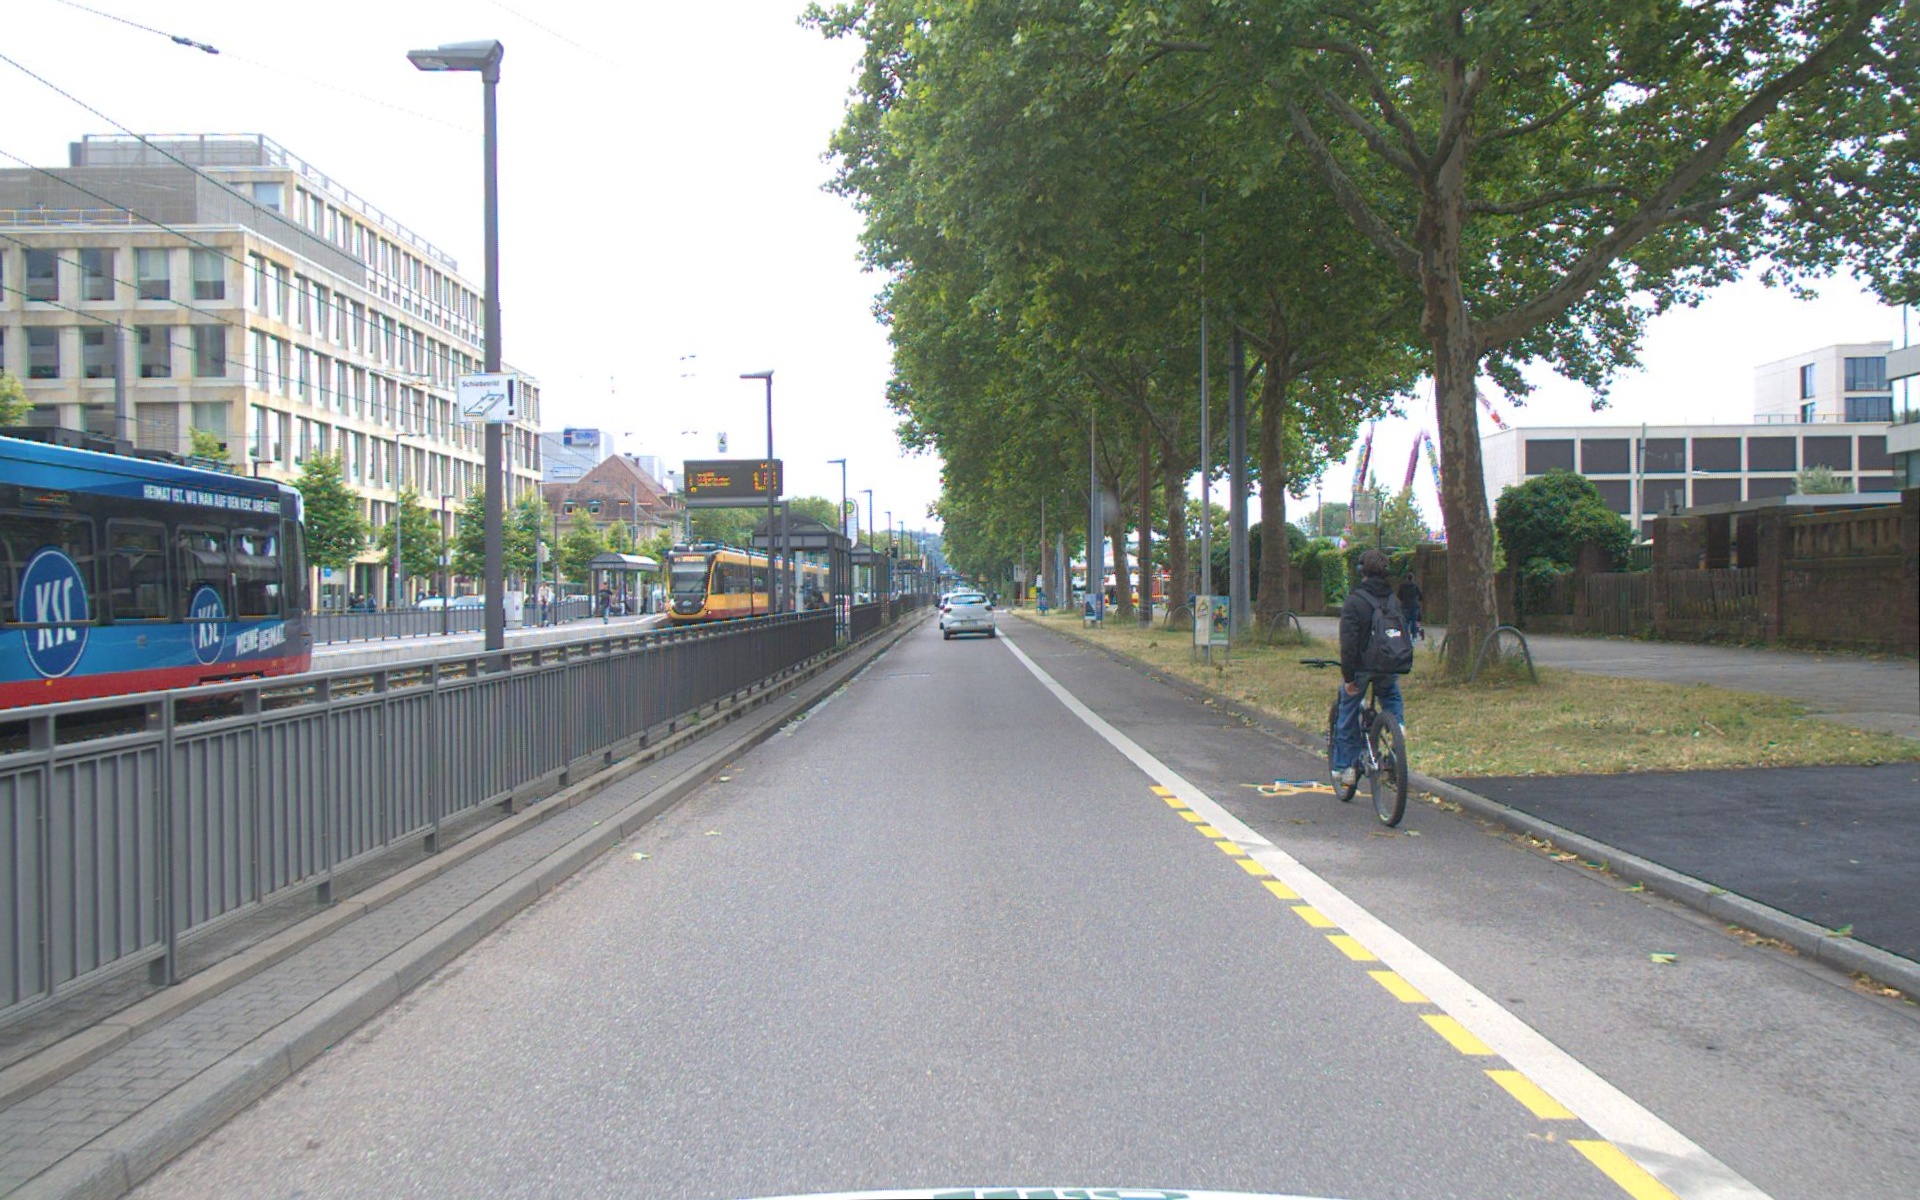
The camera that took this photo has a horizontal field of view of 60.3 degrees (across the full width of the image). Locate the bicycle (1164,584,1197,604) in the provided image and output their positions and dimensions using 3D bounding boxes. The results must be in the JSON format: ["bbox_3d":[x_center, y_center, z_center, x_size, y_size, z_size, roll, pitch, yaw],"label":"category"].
[{"bbox_3d":[13.153,-0.360,98.783,1.852,1.124,0.549,-3,0,-2],"label":"bicycle"}]

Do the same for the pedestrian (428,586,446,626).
[{"bbox_3d":[-26.875,0.294,84.998,0.698,2.049,0.725,-1,-1,-1],"label":"pedestrian"}]

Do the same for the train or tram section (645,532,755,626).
[{"bbox_3d":[-11.776,-0.857,76.110,3.171,3.929,11.311,-1,0,0],"label":"train or tram section"}]

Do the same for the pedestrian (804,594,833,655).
[{"bbox_3d":[-3.250,0.559,38.077,0.598,1.396,0.600,-1,-1,0],"label":"pedestrian"}]

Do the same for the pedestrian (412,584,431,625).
[{"bbox_3d":[-27.323,0.249,83.950,0.698,2.049,0.725,-1,-1,0],"label":"pedestrian"}]

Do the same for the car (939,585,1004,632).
[{"bbox_3d":[0.415,0.293,55.525,1.845,1.478,4.002,-1,0,5],"label":"car"}]

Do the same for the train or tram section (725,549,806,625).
[{"bbox_3d":[-11.622,-0.712,100.027,3.115,4.252,13.620,-1,0,0],"label":"train or tram section"}]

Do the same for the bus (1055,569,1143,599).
[{"bbox_3d":[14.801,-1.673,176.526,9.091,3.011,1.999,-1,0,-3],"label":"bus"}]

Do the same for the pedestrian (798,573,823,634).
[{"bbox_3d":[-4.559,0.116,50.355,0.657,1.825,1.111,-1,-1,-9],"label":"pedestrian"}]

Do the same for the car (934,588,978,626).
[{"bbox_3d":[-0.147,0.295,73.087,1.803,1.579,4.001,-2,0,1],"label":"car"}]

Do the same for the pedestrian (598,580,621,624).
[{"bbox_3d":[-14.820,0.091,69.964,0.697,1.827,1.160,-1,-1,-1],"label":"pedestrian"}]

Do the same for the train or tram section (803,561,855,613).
[{"bbox_3d":[-11.257,-1.061,143.656,3.115,4.252,14.734,-1,0,0],"label":"train or tram section"}]

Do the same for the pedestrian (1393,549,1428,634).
[{"bbox_3d":[11.028,-0.199,40.500,0.571,2.049,0.924,-1,-1,-1],"label":"pedestrian"}]

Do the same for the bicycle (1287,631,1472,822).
[{"bbox_3d":[2.901,0.829,11.678,0.639,1.170,2.282,-1,0,-2],"label":"bicycle"}]

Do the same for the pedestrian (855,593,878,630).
[{"bbox_3d":[-3.410,0.417,60.332,0.818,1.326,0.613,-1,-1,-2],"label":"pedestrian"}]

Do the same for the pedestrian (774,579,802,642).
[{"bbox_3d":[-5.157,0.314,49.522,0.658,1.825,1.109,-1,-1,-13],"label":"pedestrian"}]

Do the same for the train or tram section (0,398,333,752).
[{"bbox_3d":[-11.625,-0.229,20.361,2.796,3.756,13.517,-1,0,-1],"label":"train or tram section"}]

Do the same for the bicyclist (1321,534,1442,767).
[{"bbox_3d":[2.914,0.342,11.488,0.628,1.557,0.664,-1,-1,-2],"label":"bicyclist"}]

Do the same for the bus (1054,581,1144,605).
[{"bbox_3d":[14.525,-0.743,173.044,9.091,2.266,1.999,-1,0,-3],"label":"bus"}]

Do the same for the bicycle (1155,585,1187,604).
[{"bbox_3d":[13.243,-0.367,103.947,1.883,1.110,0.549,-3,0,-2],"label":"bicycle"}]

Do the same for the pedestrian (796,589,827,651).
[{"bbox_3d":[-3.302,0.439,36.792,0.598,1.364,0.600,-1,-1,0],"label":"pedestrian"}]

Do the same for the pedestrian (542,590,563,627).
[{"bbox_3d":[-22.652,0.461,91.942,0.914,2.049,1.032,-1,-1,-1],"label":"pedestrian"}]

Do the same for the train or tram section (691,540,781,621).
[{"bbox_3d":[-11.692,-0.934,87.485,3.098,3.929,11.311,-1,0,0],"label":"train or tram section"}]
